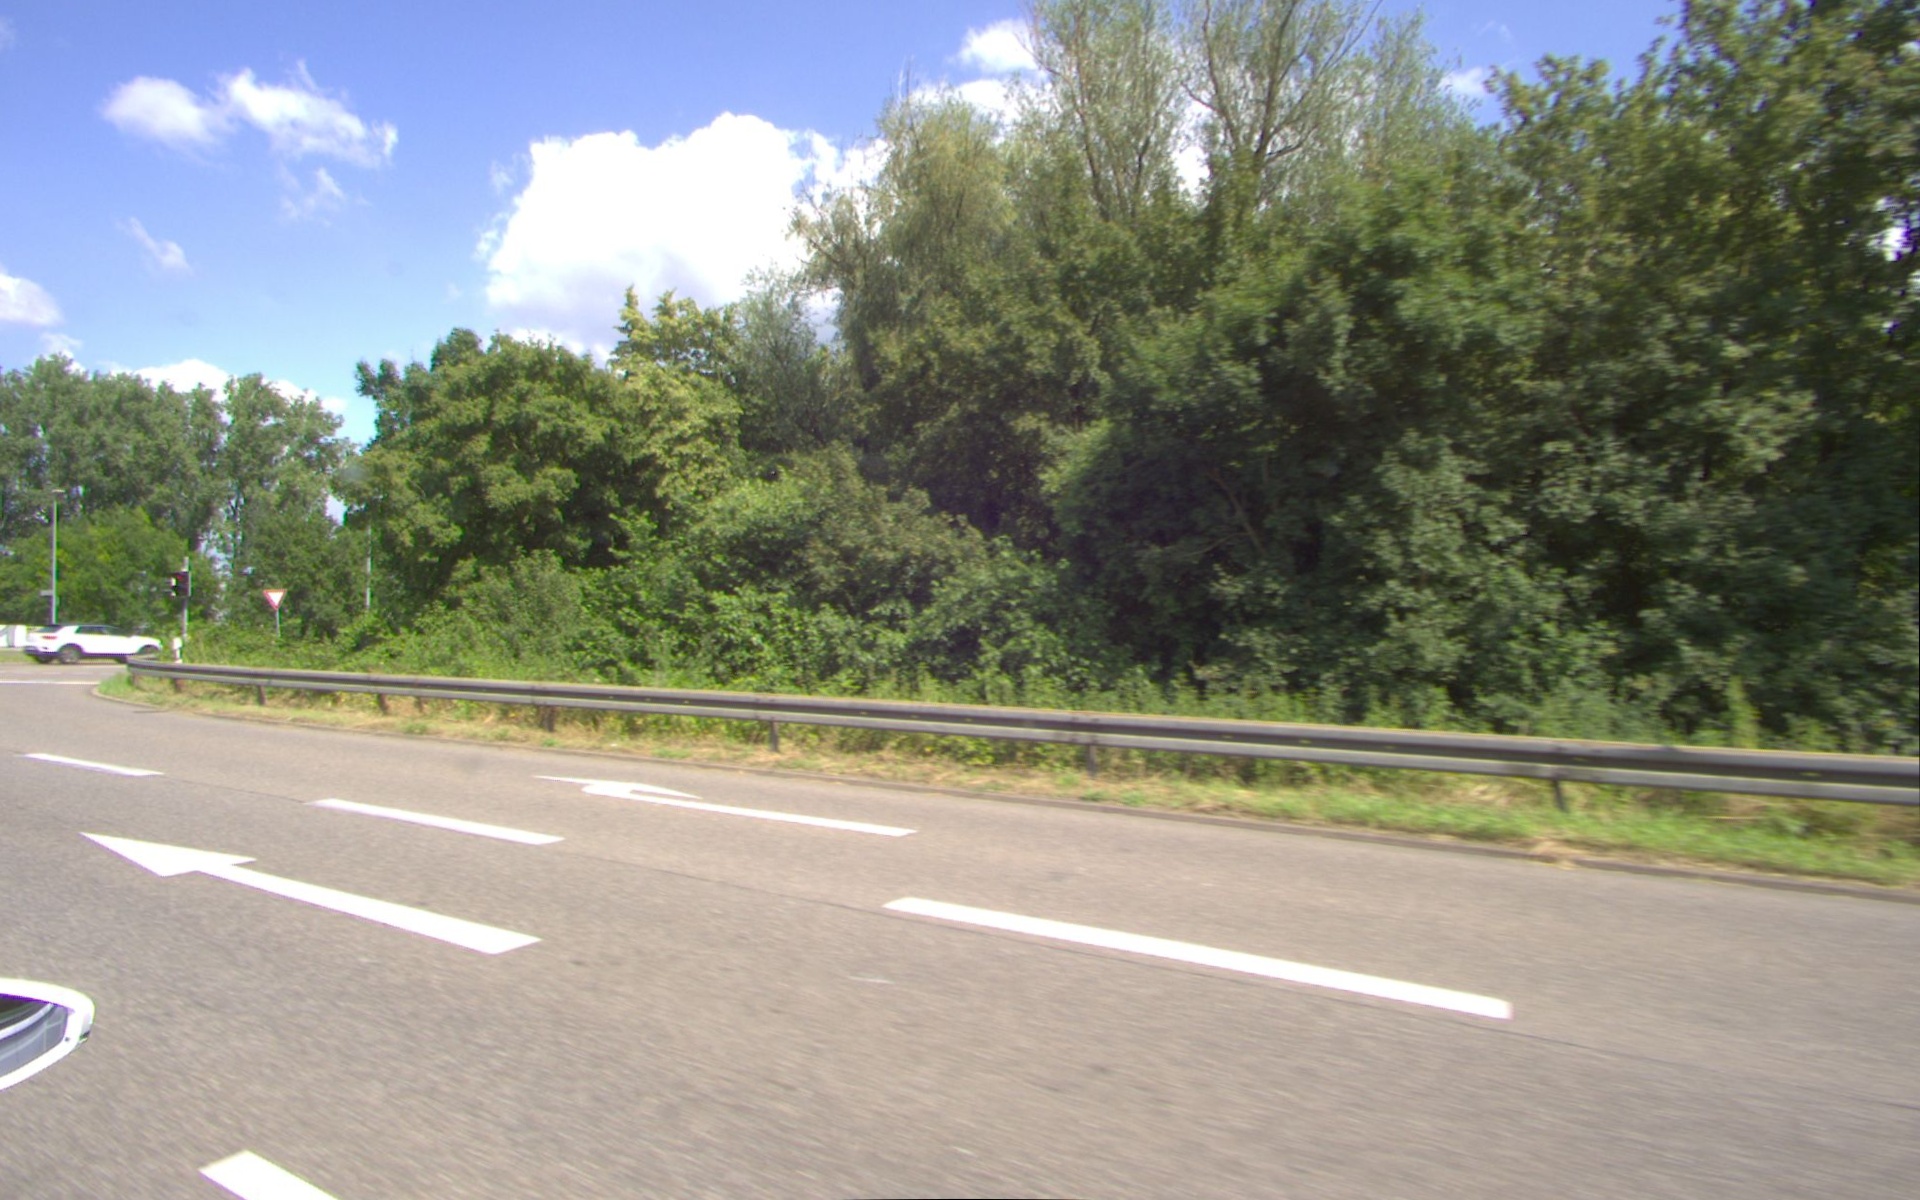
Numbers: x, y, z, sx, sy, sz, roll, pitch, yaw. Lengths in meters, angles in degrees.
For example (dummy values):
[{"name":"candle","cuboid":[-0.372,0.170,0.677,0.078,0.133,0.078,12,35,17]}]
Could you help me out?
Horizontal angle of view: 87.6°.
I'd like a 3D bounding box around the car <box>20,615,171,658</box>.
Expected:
[{"name":"car","cuboid":[-33.122,1.440,38.497,1.708,1.494,4.040,0,-3,23]}]
